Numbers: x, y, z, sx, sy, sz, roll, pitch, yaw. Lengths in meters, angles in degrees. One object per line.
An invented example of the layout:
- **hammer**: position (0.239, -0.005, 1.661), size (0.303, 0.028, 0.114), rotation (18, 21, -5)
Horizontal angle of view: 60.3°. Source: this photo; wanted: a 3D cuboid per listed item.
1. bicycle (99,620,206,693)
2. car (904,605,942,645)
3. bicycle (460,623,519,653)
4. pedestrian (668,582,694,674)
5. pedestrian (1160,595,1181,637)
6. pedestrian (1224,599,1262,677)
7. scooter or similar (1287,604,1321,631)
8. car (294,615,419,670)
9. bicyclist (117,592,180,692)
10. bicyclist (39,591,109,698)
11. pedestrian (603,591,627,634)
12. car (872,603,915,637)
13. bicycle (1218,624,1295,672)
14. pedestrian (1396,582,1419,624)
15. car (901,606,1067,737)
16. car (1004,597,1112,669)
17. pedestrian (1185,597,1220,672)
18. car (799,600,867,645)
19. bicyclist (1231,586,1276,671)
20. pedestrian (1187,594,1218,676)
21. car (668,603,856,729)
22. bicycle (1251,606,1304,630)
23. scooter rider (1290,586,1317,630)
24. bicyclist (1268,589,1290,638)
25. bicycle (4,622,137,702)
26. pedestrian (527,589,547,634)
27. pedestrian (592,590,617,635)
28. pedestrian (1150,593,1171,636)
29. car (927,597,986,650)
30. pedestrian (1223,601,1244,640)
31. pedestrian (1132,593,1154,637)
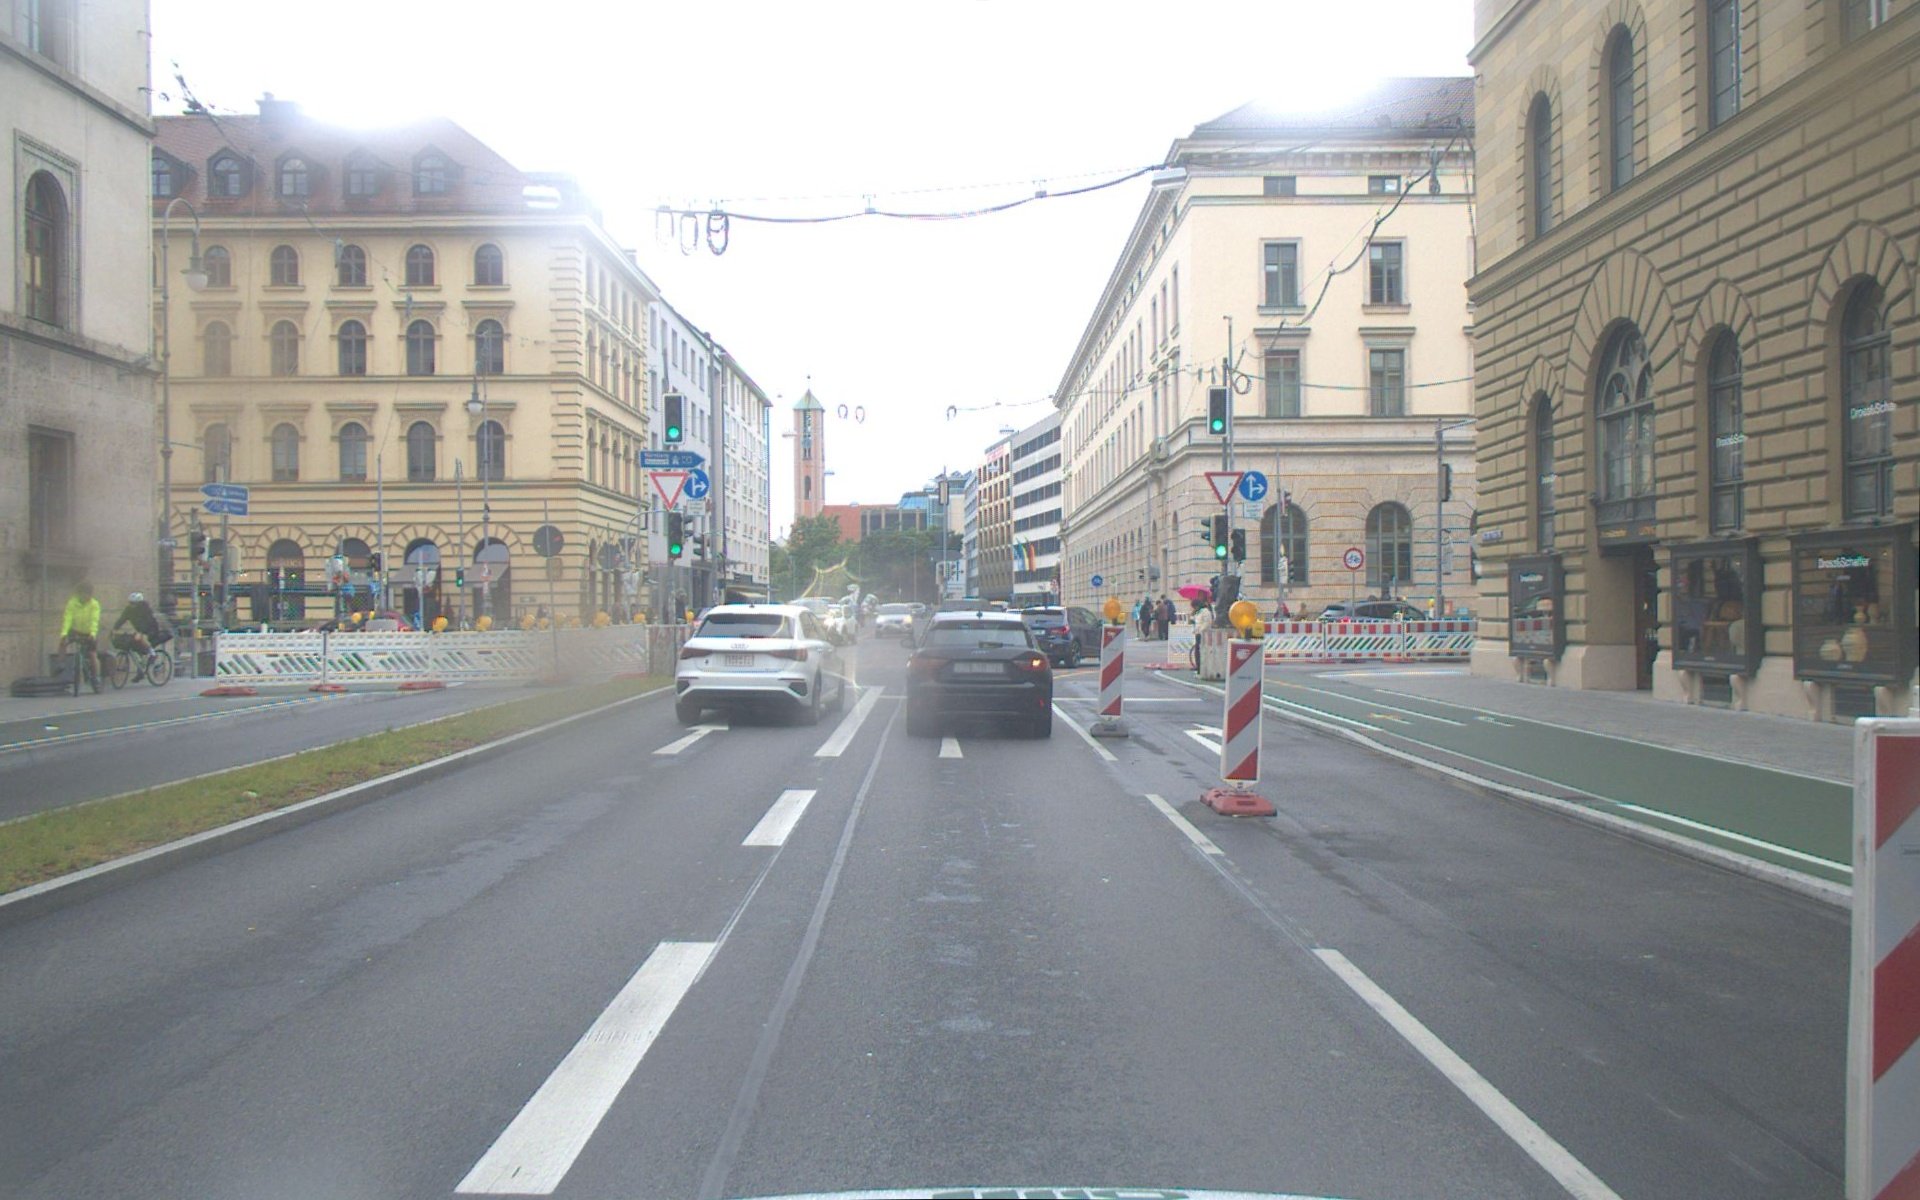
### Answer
- **bicycle**: position (-14.927, 1.017, 30.658), size (0.770, 1.264, 2.200), rotation (1, 0, 4)
- **car**: position (-1.940, 1.283, 87.891), size (1.953, 2.049, 3.999), rotation (0, 0, -1)
- **bicycle**: position (-18.443, 1.490, 64.833), size (2.164, 1.118, 0.595), rotation (0, -1, -26)
- **pedestrian**: position (-5.505, 0.548, 32.592), size (0.503, 1.773, 1.041), rotation (0, 0, -10)
- **pedestrian**: position (8.883, 0.675, 69.811), size (0.573, 1.786, 0.818), rotation (0, 0, 30)
- **pedestrian**: position (5.890, 0.780, 34.423), size (0.688, 1.594, 0.682), rotation (1, 0, 2)
- **scooter or similar**: position (13.000, 0.660, 62.491), size (1.186, 0.982, 0.588), rotation (1, 0, 1)
- **car**: position (-20.768, 1.454, 57.030), size (3.666, 1.830, 1.866), rotation (-1, 0, -4)
- **bicyclist**: position (-14.936, 0.764, 30.455), size (0.781, 1.807, 0.689), rotation (1, 0, 3)
- **bicyclist**: position (-14.986, 0.743, 27.991), size (0.781, 1.779, 0.689), rotation (1, 0, 3)
- **pedestrian**: position (-14.384, 0.523, 68.961), size (0.718, 1.803, 0.739), rotation (0, 0, 20)
- **car**: position (-3.138, 0.910, 78.812), size (1.953, 1.550, 4.232), rotation (-1, 0, -1)
- **bicycle**: position (6.587, 1.056, 36.810), size (1.627, 1.029, 0.583), rotation (1, 0, 42)
- **pedestrian**: position (18.577, 0.123, 68.653), size (0.700, 1.723, 0.820), rotation (1, 0, 1)
- **car**: position (0.241, 0.796, 20.231), size (1.825, 1.412, 3.999), rotation (0, 0, -1)
- **car**: position (2.449, 0.771, 40.483), size (1.731, 1.645, 4.002), rotation (1, 0, 17)
- **pedestrian**: position (5.208, 0.731, 35.544), size (0.688, 1.594, 0.541), rotation (1, 0, 2)
- **car**: position (-5.071, 0.873, 66.449), size (1.755, 1.707, 4.236), rotation (-1, 0, 9)
- **bicyclist**: position (6.544, 0.626, 36.857), size (0.785, 1.886, 0.564), rotation (0, 0, 41)
- **pedestrian**: position (4.895, 0.700, 33.428), size (0.520, 1.648, 0.674), rotation (1, 0, 2)
- **car**: position (-2.470, 0.774, 21.686), size (1.775, 1.449, 4.453), rotation (1, 0, 2)
- **bicycle**: position (12.237, 0.703, 63.827), size (1.931, 0.895, 0.662), rotation (1, 0, 2)
- **scooter rider**: position (12.970, 0.310, 62.494), size (0.913, 1.651, 0.592), rotation (1, 0, 1)
- **bicyclist**: position (12.315, 0.528, 63.817), size (0.728, 1.874, 0.661), rotation (1, 0, 2)
- **bicycle**: position (-14.997, 1.016, 27.969), size (0.770, 1.264, 2.450), rotation (1, 0, 4)
- **pedestrian**: position (-17.189, 0.476, 67.216), size (0.720, 1.803, 0.737), rotation (1, 0, -11)
- **pedestrian**: position (-14.666, 0.515, 68.251), size (0.718, 1.803, 0.761), rotation (0, 0, 20)
- **pedestrian**: position (8.375, 0.610, 69.013), size (0.573, 1.786, 0.818), rotation (0, 0, 30)
- **car**: position (-0.130, 0.740, 53.356), size (1.827, 1.629, 3.850), rotation (-1, 0, -1)
- **pedestrian**: position (11.139, 0.826, 67.434), size (0.800, 1.584, 0.667), rotation (1, 0, 7)
- **pedestrian**: position (7.597, 0.610, 68.585), size (0.800, 1.786, 0.680), rotation (1, 0, 16)
